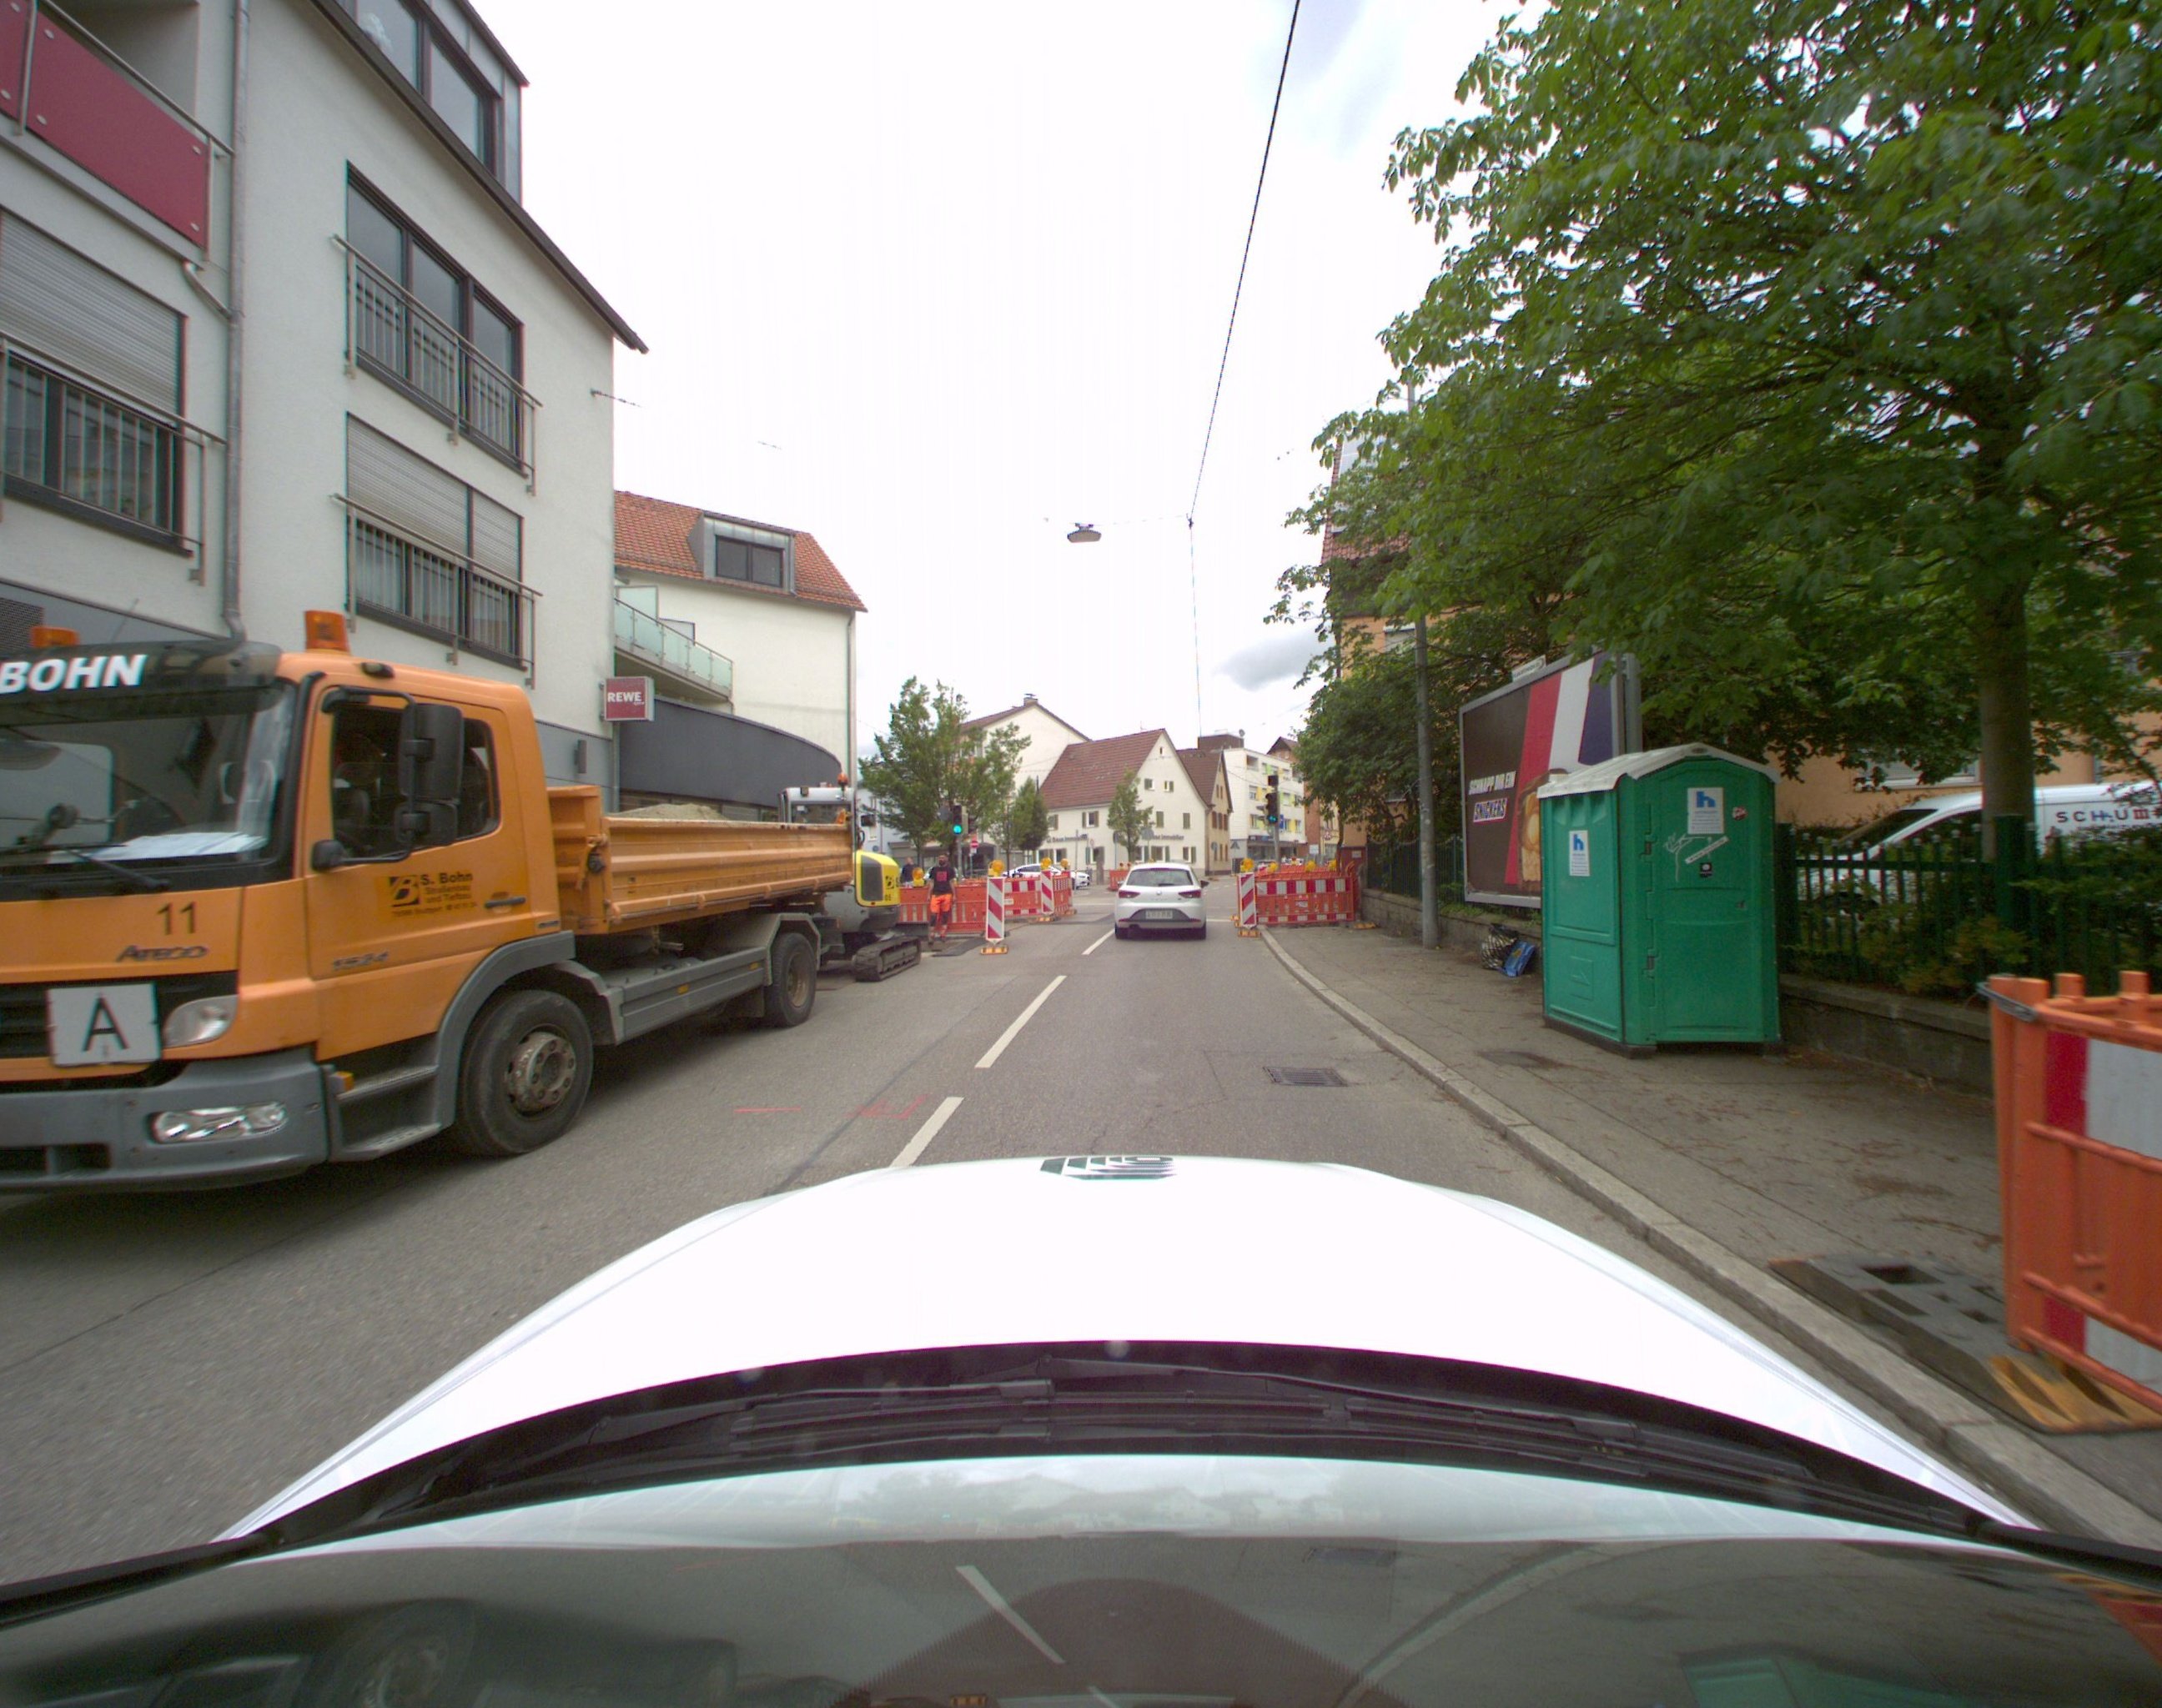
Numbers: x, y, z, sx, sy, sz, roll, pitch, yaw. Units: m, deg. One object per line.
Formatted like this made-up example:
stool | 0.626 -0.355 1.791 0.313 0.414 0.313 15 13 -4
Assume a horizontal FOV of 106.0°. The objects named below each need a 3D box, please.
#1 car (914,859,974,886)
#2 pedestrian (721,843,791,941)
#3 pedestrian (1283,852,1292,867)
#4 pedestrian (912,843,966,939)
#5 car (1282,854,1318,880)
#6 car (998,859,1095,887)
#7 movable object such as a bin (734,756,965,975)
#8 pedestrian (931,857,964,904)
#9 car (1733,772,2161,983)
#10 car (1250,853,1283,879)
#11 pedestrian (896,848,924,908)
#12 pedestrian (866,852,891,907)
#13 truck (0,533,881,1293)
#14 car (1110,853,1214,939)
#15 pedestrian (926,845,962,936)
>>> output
car | -8.641 1.135 51.043 2.029 1.557 4.868 0 0 -33
pedestrian | -5.863 0.675 14.734 0.827 1.712 0.818 -1 0 10
pedestrian | 22.855 0.626 90.201 0.885 1.665 0.866 -1 -1 19
pedestrian | -2.753 0.710 15.870 0.810 1.816 0.745 -1 0 7
car | 17.952 1.040 66.605 1.975 2.014 4.024 -1 -1 27
car | -1.829 1.003 44.232 4.875 1.477 2.254 0 0 8
movable object such as a bin | -3.292 0.194 12.630 1.830 2.764 4.513 -1 -1 6
pedestrian | -4.647 0.923 28.347 0.674 1.592 0.884 -2 -1 30
car | 10.155 0.231 9.134 4.173 2.033 2.013 -1 0 31
car | 11.593 0.730 50.754 1.798 1.480 3.886 -1 0 15
pedestrian | -5.625 0.786 26.823 0.816 1.925 0.780 -1 0 -17
pedestrian | -6.777 0.850 27.263 0.694 1.791 0.713 -1 0 -21
truck | -4.065 0.212 6.424 2.718 2.725 6.857 -1 0 5
car | 1.527 0.756 16.655 1.805 1.480 3.871 1 0 1
pedestrian | -2.659 0.702 15.847 0.534 1.744 0.445 -1 0 8
